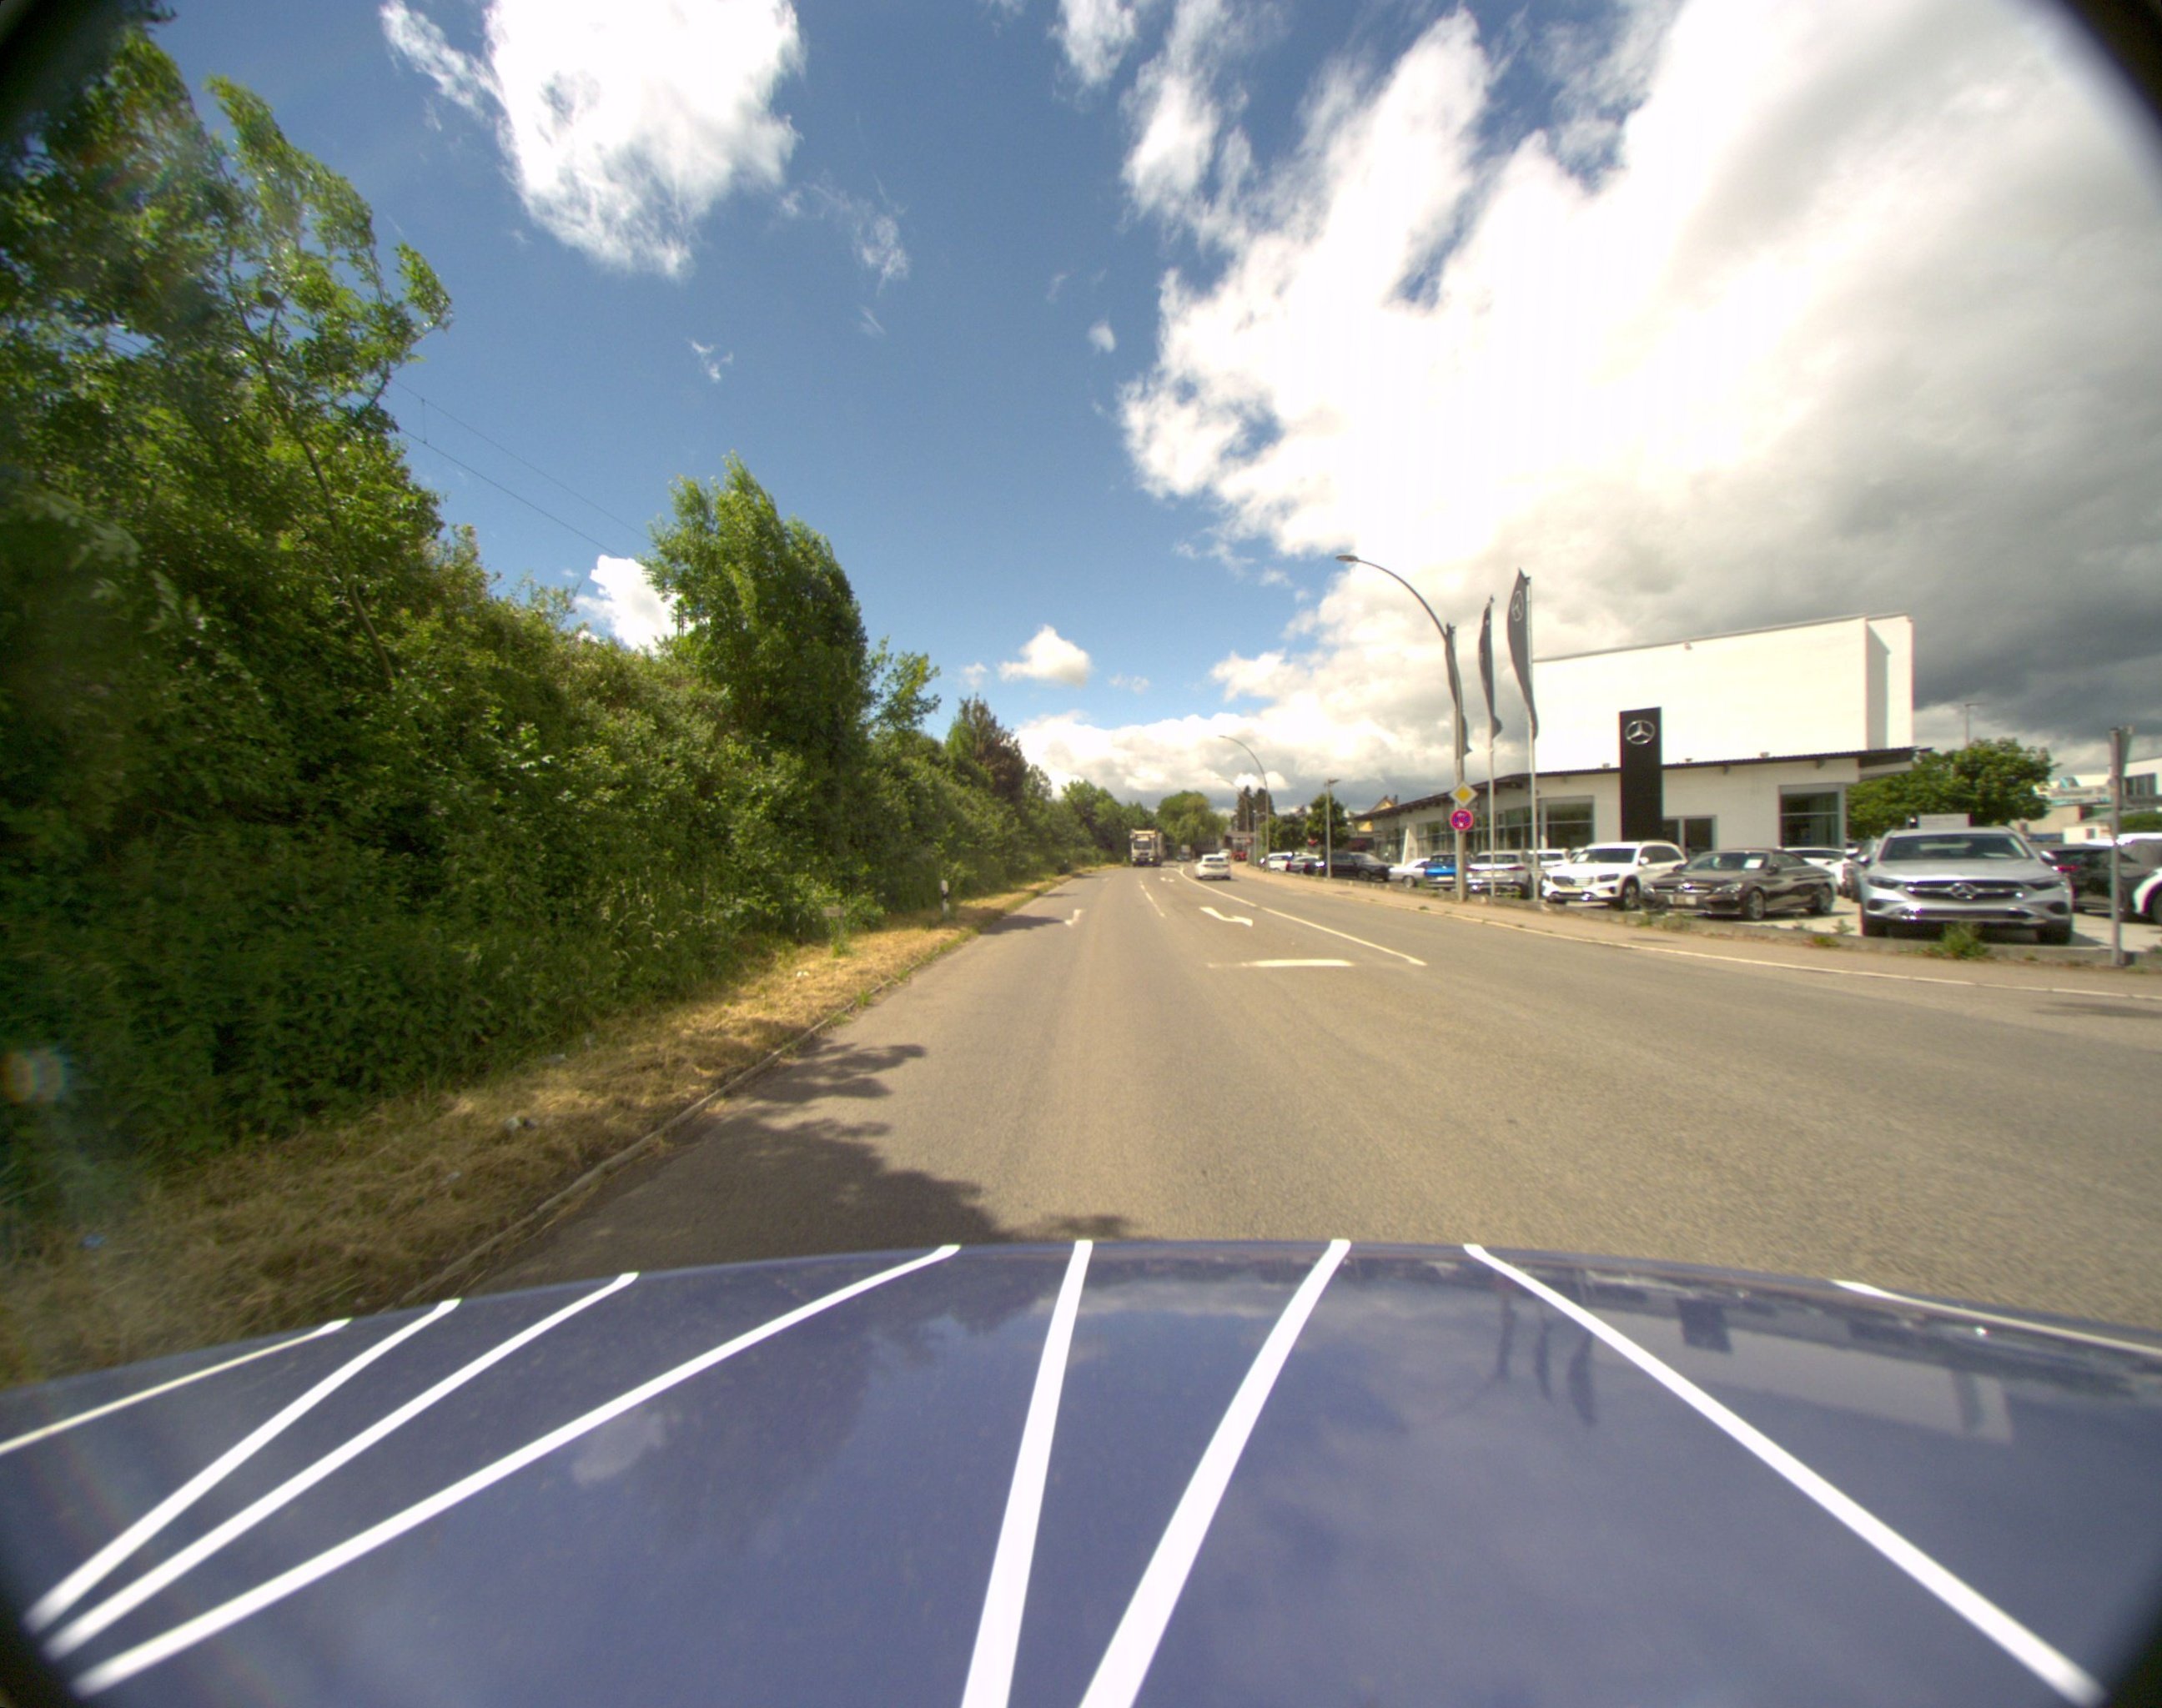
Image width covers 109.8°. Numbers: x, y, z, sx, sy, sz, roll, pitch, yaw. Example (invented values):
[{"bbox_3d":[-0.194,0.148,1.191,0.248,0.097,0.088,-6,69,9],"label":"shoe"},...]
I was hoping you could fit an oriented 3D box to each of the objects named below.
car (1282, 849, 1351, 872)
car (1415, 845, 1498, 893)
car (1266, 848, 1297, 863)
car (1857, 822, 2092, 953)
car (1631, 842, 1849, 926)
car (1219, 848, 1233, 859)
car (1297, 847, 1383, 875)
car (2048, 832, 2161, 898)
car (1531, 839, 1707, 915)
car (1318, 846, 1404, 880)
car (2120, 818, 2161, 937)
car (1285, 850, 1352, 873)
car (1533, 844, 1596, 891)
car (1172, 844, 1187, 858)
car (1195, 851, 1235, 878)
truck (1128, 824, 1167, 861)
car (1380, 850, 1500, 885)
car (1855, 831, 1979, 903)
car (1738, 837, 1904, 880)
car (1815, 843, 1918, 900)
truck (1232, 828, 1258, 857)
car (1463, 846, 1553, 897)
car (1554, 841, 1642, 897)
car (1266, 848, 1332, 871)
[{"bbox_3d":[17.273,0.489,55.812,4.496,1.615,1.808,-2,-1,37],"label":"car"},{"bbox_3d":[14.659,0.561,29.503,1.889,1.659,4.580,-2,0,39],"label":"car"},{"bbox_3d":[22.231,0.146,84.164,3.261,1.565,1.583,0,1,13],"label":"car"},{"bbox_3d":[13.309,0.380,11.621,4.752,1.595,1.983,-2,0,-44],"label":"car"},{"bbox_3d":[13.482,0.561,15.522,4.334,1.457,1.793,-1,-1,-26],"label":"car"},{"bbox_3d":[28.247,-0.057,147.635,1.951,2.002,4.006,0,1,22],"label":"car"},{"bbox_3d":[16.136,0.444,47.405,4.623,1.615,2.067,-2,-1,39],"label":"car"},{"bbox_3d":[27.379,0.256,18.824,1.850,1.619,3.990,-1,0,-30],"label":"car"},{"bbox_3d":[13.572,0.508,19.126,4.305,1.668,1.932,-1,1,-29],"label":"car"},{"bbox_3d":[15.065,0.522,41.157,1.806,1.615,4.344,-4,1,-23],"label":"car"},{"bbox_3d":[16.421,0.321,9.031,1.935,1.711,4.600,-1,0,2],"label":"car"},{"bbox_3d":[15.861,0.454,50.846,3.943,1.485,1.808,0,1,44],"label":"car"},{"bbox_3d":[17.865,0.474,28.151,1.799,1.615,3.963,-2,-1,32],"label":"car"},{"bbox_3d":[14.974,-0.450,115.205,1.952,2.002,4.004,0,1,12],"label":"car"},{"bbox_3d":[7.732,0.580,44.142,1.997,1.442,4.428,1,1,6],"label":"car"},{"bbox_3d":[7.327,-1.208,82.635,2.902,3.746,9.643,0,1,13],"label":"truck"},{"bbox_3d":[16.461,0.672,35.048,1.807,1.382,4.587,-5,1,-38],"label":"car"},{"bbox_3d":[21.011,0.300,19.259,4.443,1.607,1.863,-1,-1,-45],"label":"car"},{"bbox_3d":[29.972,0.166,31.016,4.571,1.581,1.931,0,2,34],"label":"car"},{"bbox_3d":[24.076,0.510,23.422,1.799,1.615,3.963,-2,-1,40],"label":"car"},{"bbox_3d":[26.979,-1.911,124.700,2.976,4.634,8.190,0,1,20],"label":"truck"},{"bbox_3d":[14.412,0.547,25.521,1.869,1.557,4.531,-2,-1,39],"label":"car"},{"bbox_3d":[16.042,0.445,23.482,1.869,1.557,4.531,-2,-1,39],"label":"car"},{"bbox_3d":[18.003,0.453,62.949,4.944,1.827,1.897,0,1,40],"label":"car"}]
